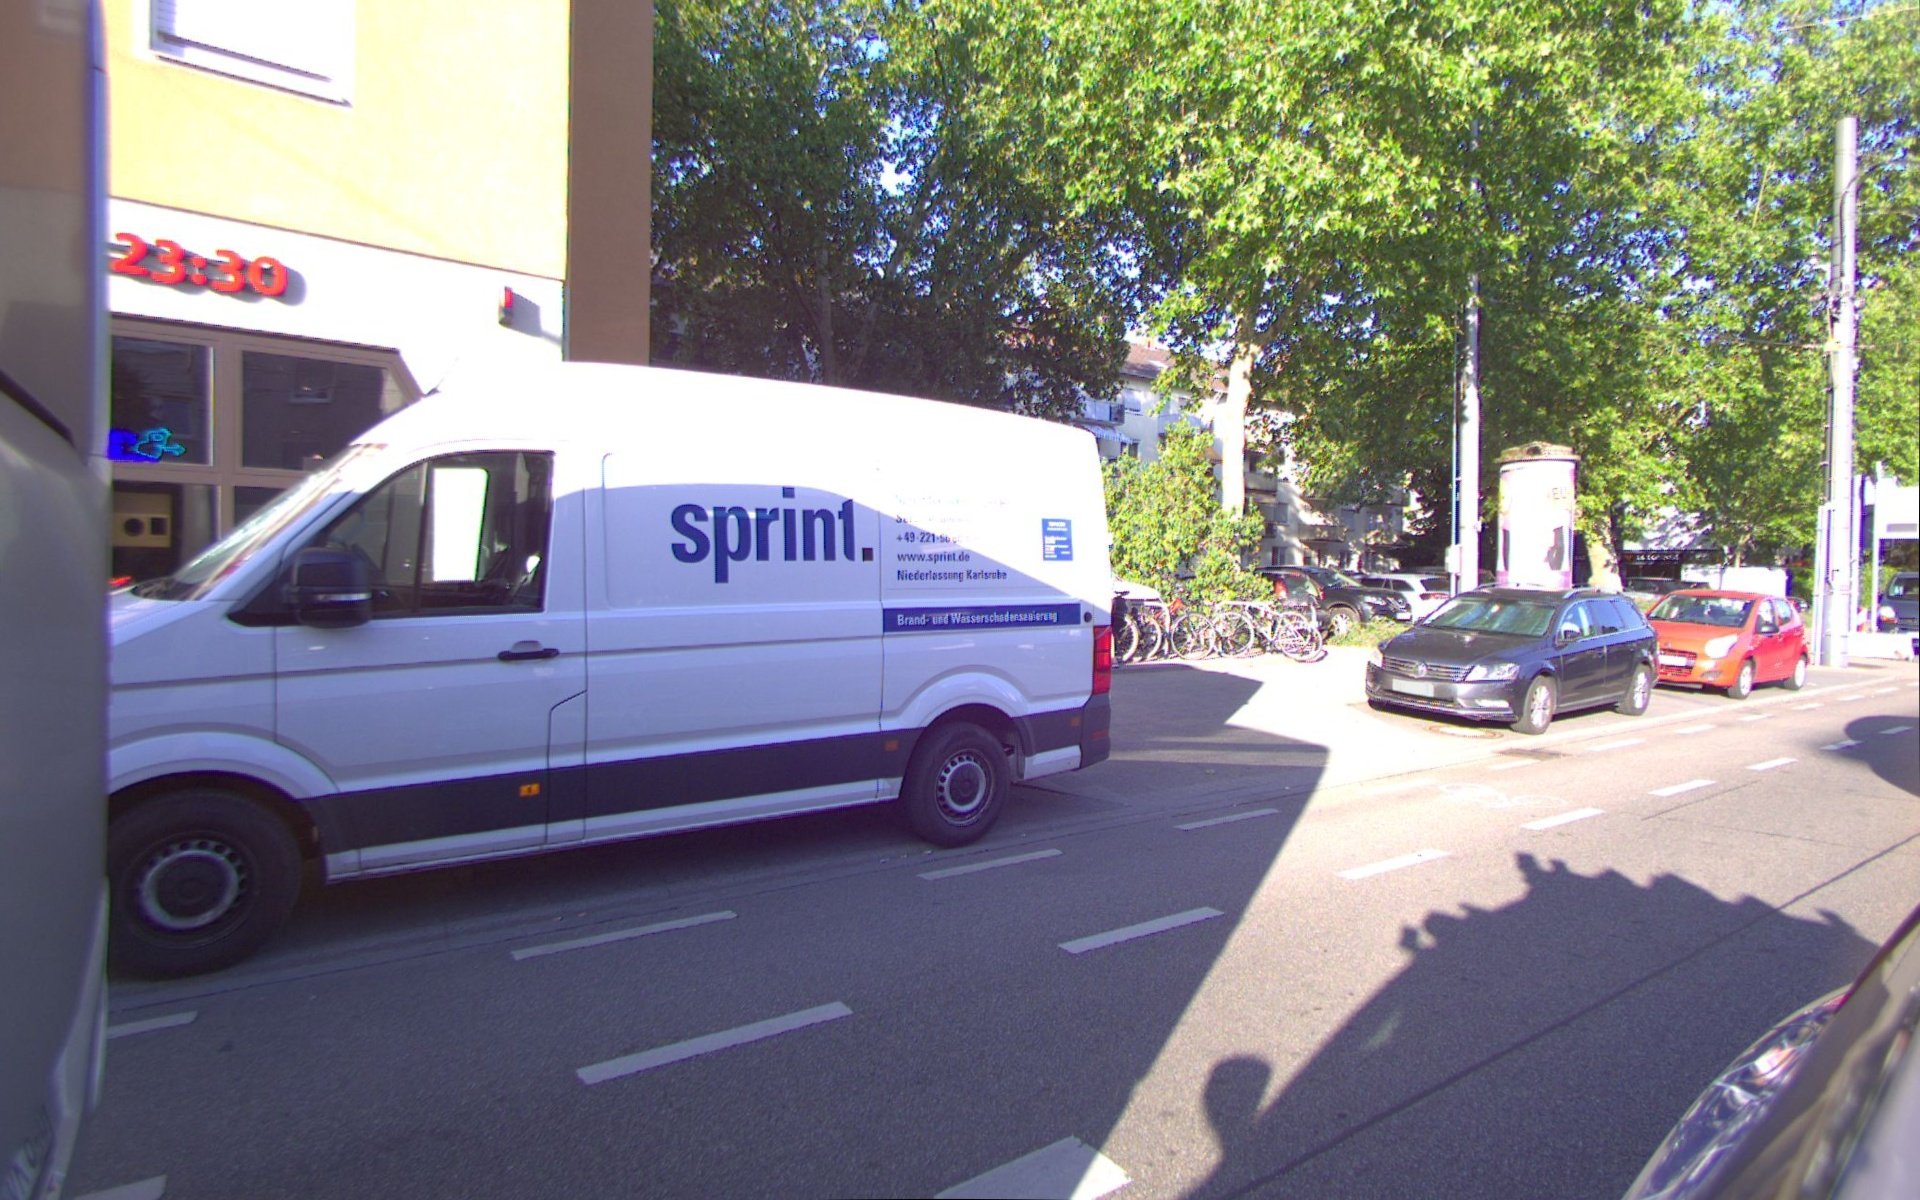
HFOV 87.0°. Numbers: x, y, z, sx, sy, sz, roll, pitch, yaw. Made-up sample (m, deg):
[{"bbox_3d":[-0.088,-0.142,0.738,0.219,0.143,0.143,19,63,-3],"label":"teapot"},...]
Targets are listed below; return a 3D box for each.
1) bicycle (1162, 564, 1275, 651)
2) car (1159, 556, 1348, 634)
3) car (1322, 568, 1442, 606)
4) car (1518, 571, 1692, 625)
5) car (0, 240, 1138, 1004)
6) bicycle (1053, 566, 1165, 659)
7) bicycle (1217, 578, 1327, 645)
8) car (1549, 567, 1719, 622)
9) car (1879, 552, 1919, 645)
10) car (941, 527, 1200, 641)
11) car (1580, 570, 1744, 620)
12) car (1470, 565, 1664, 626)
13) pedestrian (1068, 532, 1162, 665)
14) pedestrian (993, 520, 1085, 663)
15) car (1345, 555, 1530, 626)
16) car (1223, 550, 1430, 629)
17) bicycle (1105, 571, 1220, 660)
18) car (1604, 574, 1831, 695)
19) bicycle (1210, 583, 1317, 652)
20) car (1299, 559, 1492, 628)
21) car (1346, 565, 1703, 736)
[{"bbox_3d":[3.840,0.092,15.150,1.557,1.242,0.646,1,1,9],"label":"bicycle"},{"bbox_3d":[6.142,-0.069,21.477,1.740,1.502,3.507,0,-1,-36],"label":"car"},{"bbox_3d":[17.794,-0.588,42.835,1.964,1.514,4.293,-1,2,-38],"label":"car"},{"bbox_3d":[19.700,-0.113,31.092,1.768,1.513,4.128,0,2,-33],"label":"car"},{"bbox_3d":[-1.832,-0.010,5.624,5.675,2.581,2.025,-1,5,-35],"label":"car"},{"bbox_3d":[2.081,0.154,14.177,1.499,1.242,0.401,1,1,16],"label":"bicycle"},{"bbox_3d":[5.096,0.164,16.582,1.657,1.026,0.648,1,2,18],"label":"bicycle"},{"bbox_3d":[21.436,-0.231,32.340,1.768,1.618,4.128,0,2,-33],"label":"car"},{"bbox_3d":[23.715,-0.053,23.990,4.476,2.104,1.891,-1,2,-35],"label":"car"},{"bbox_3d":[1.777,-0.212,17.836,1.962,1.731,4.631,0,-1,-35],"label":"car"},{"bbox_3d":[23.264,-0.146,33.686,1.768,1.570,4.126,0,0,-33],"label":"car"},{"bbox_3d":[16.322,-0.174,27.414,1.768,1.513,4.128,0,2,-33],"label":"car"},{"bbox_3d":[2.046,-0.036,13.338,0.973,1.656,0.660,0,4,-42],"label":"pedestrian"},{"bbox_3d":[1.020,-0.128,13.157,0.754,1.772,0.809,1,4,-35],"label":"pedestrian"},{"bbox_3d":[11.986,-0.224,25.596,1.820,1.652,3.854,0,0,-33],"label":"car"},{"bbox_3d":[8.135,-0.181,22.776,1.821,1.621,4.033,0,-1,-35],"label":"car"},{"bbox_3d":[2.929,0.219,14.607,1.561,1.242,0.647,-1,0,18],"label":"bicycle"},{"bbox_3d":[11.227,0.421,14.952,3.557,1.512,1.576,-1,4,-35],"label":"car"},{"bbox_3d":[4.770,0.256,15.935,1.562,1.026,0.648,1,2,18],"label":"bicycle"},{"bbox_3d":[10.299,-0.114,24.170,1.820,1.514,3.853,0,-1,-33],"label":"car"},{"bbox_3d":[6.604,0.441,11.659,4.564,1.549,1.703,-1,4,-35],"label":"car"}]
